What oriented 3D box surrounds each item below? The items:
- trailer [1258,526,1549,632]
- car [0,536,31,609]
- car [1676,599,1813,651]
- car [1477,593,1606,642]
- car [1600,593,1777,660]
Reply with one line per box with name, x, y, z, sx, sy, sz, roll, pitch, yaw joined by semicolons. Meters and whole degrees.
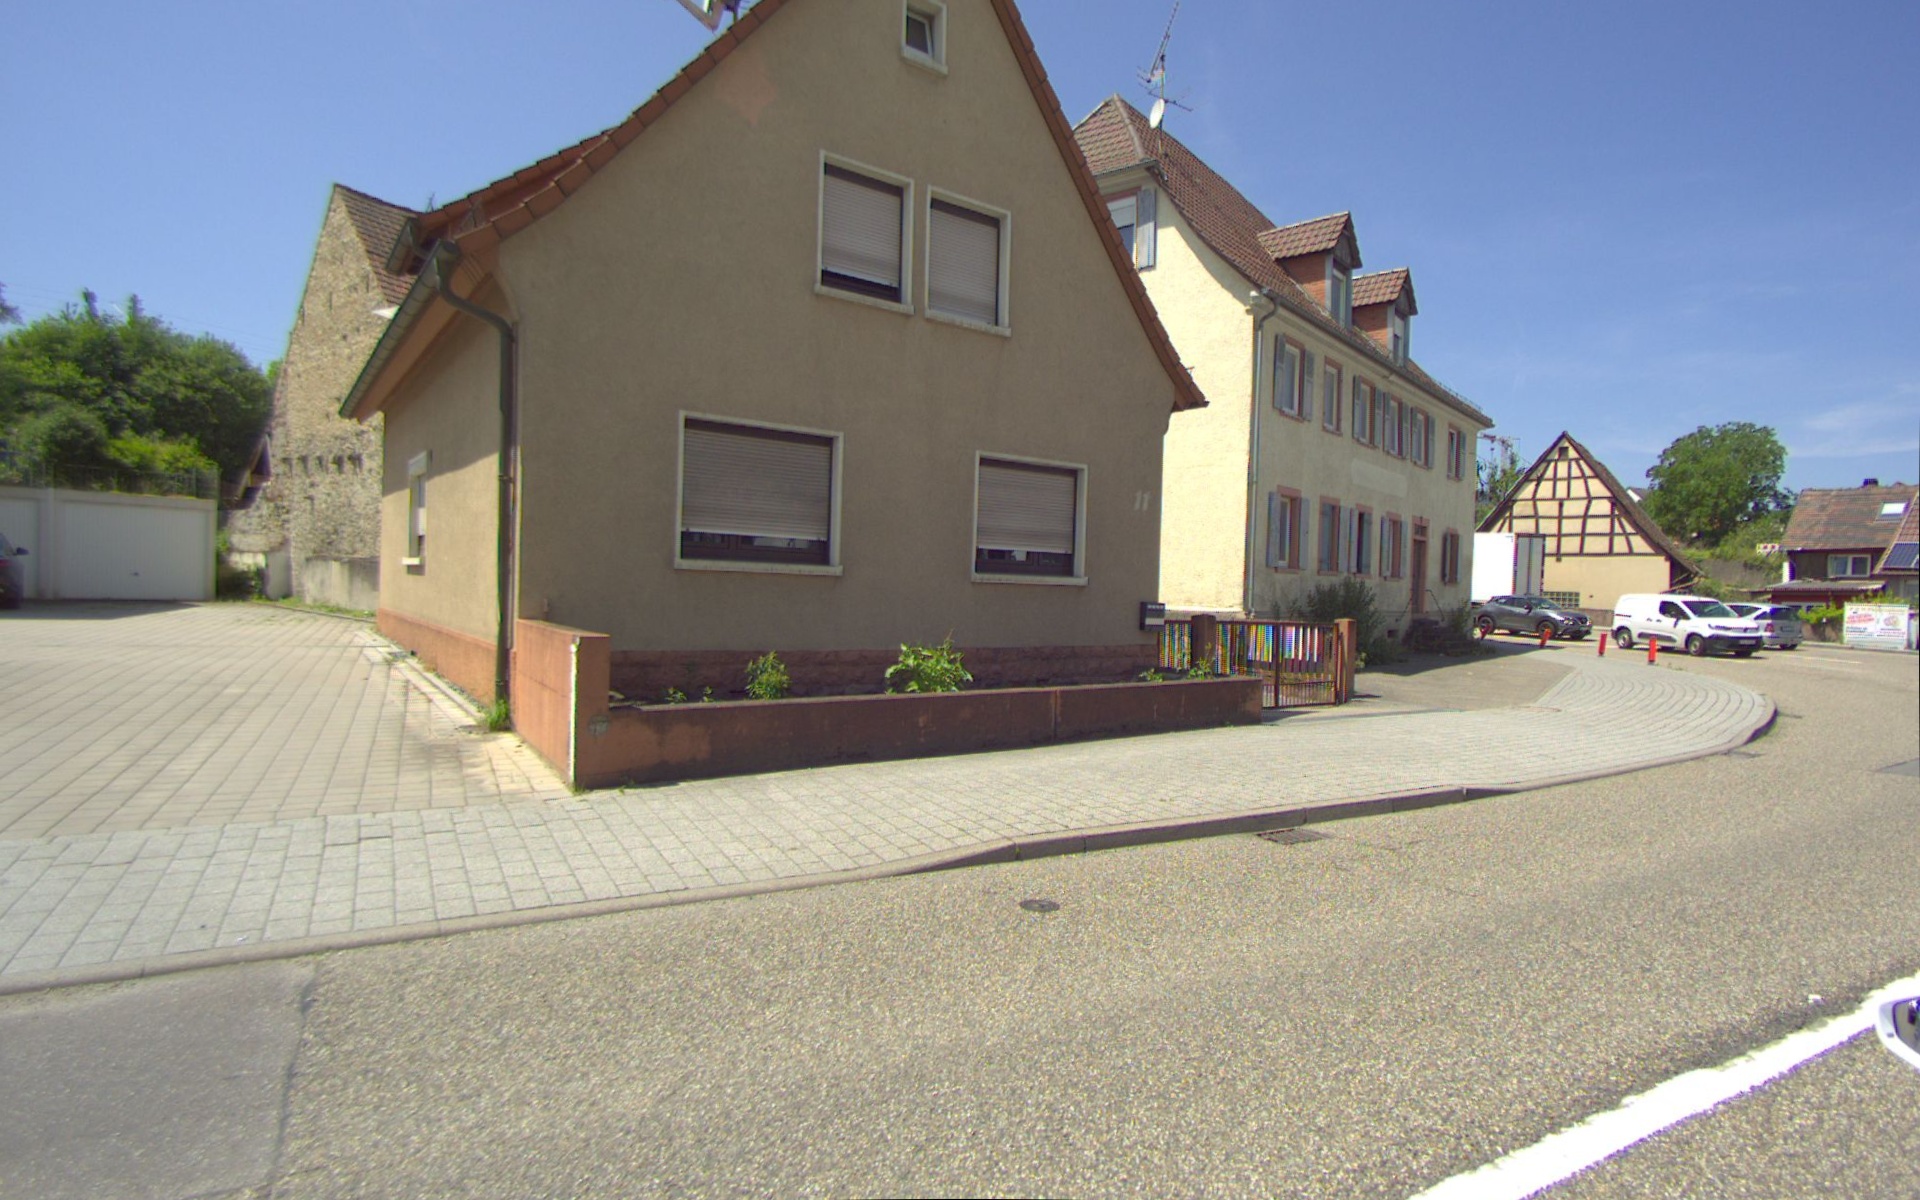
trailer;20.191;-1.106;47.030;3.115;4.334;12.357;2;1;-38
car;-18.826;-0.590;18.952;1.849;1.298;3.949;1;2;-42
car;27.000;0.814;34.724;1.753;1.606;3.604;2;1;-3
car;21.931;0.632;38.079;1.770;1.544;3.981;2;2;-19
car;22.850;0.769;31.765;1.845;1.809;4.514;1;2;-8
